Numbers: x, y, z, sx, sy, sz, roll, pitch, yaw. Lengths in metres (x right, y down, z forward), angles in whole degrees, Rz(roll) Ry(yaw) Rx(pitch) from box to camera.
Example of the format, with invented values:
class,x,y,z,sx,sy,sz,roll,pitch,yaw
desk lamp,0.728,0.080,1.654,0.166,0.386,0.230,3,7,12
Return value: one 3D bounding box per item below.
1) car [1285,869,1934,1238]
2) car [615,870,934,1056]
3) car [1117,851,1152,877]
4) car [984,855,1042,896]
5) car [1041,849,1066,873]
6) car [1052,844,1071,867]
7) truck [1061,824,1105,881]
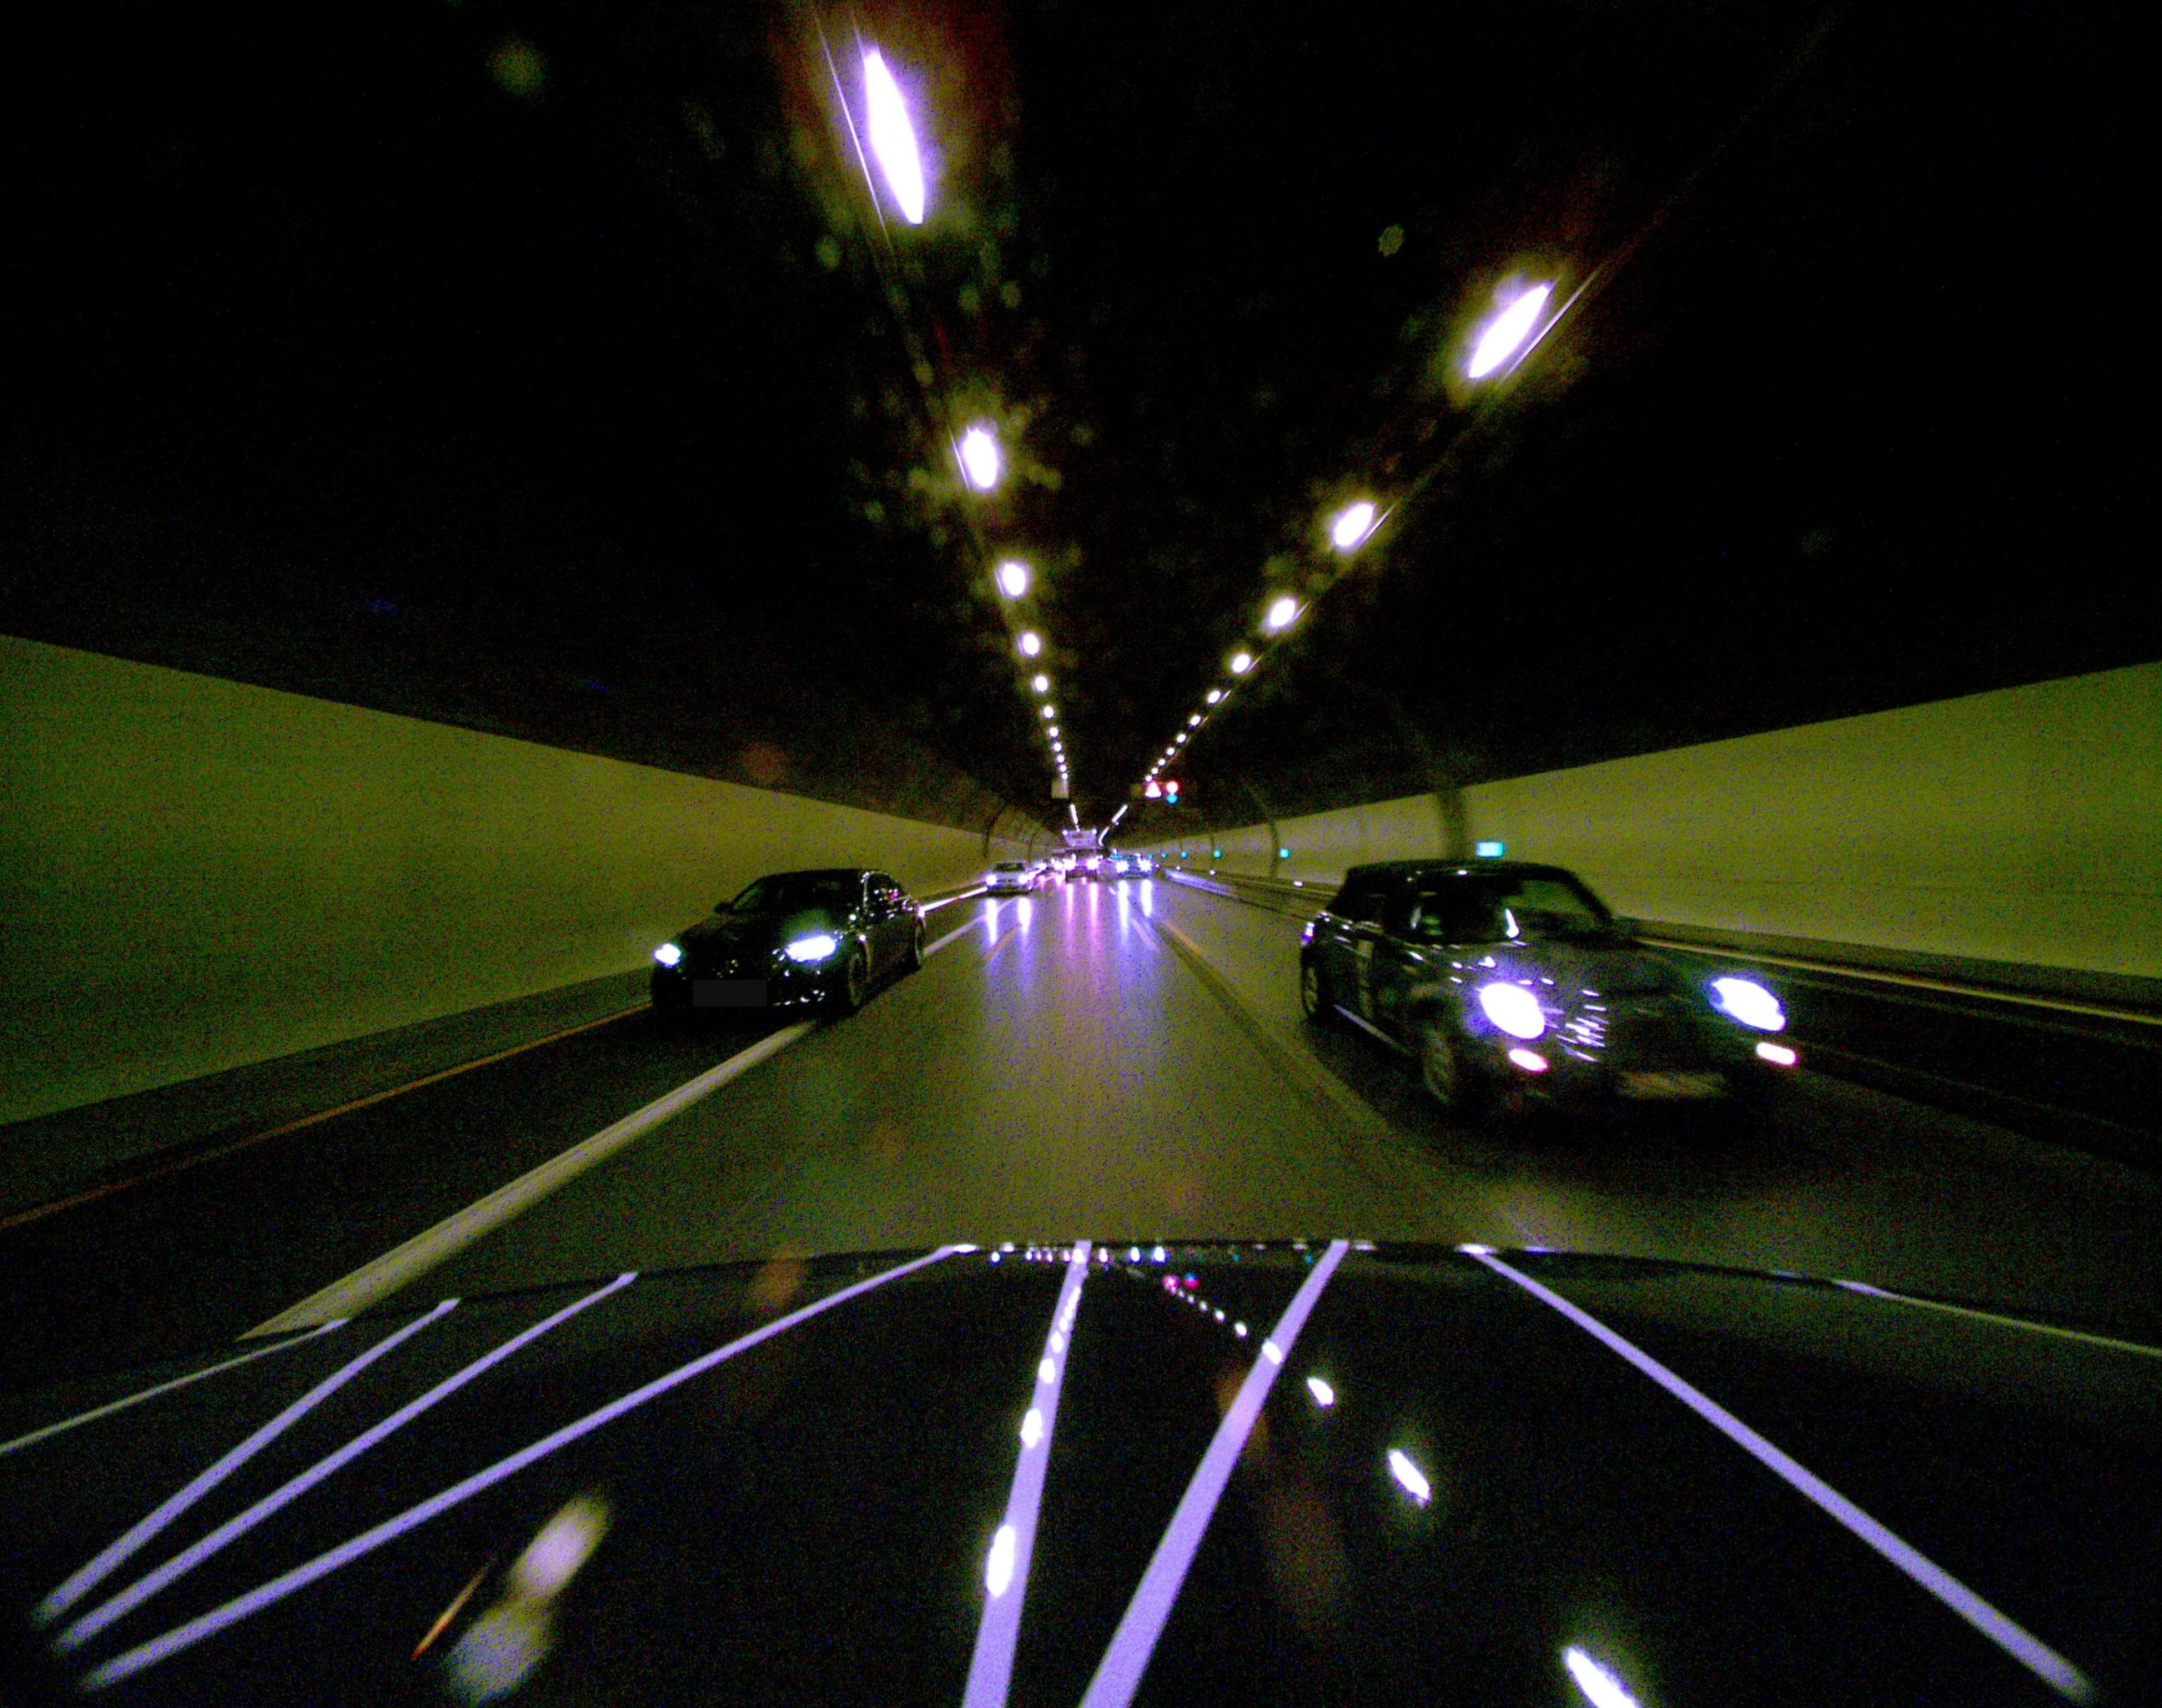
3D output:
class,x,y,z,sx,sy,sz,roll,pitch,yaw
car,2.745,0.881,5.152,1.693,1.409,3.923,-2,0,1
car,-3.154,1.020,8.994,1.825,1.469,4.521,-2,0,1
car,3.552,0.636,50.862,1.998,1.531,4.742,-2,1,1
car,-2.857,0.872,33.088,1.998,1.531,4.742,-2,1,1
car,-2.440,0.580,68.823,1.999,2.002,4.853,-2,0,0
car,-2.338,0.102,94.155,1.998,2.710,6.274,-2,1,1
truck,0.168,-0.092,49.519,2.533,3.314,7.716,-2,0,1
